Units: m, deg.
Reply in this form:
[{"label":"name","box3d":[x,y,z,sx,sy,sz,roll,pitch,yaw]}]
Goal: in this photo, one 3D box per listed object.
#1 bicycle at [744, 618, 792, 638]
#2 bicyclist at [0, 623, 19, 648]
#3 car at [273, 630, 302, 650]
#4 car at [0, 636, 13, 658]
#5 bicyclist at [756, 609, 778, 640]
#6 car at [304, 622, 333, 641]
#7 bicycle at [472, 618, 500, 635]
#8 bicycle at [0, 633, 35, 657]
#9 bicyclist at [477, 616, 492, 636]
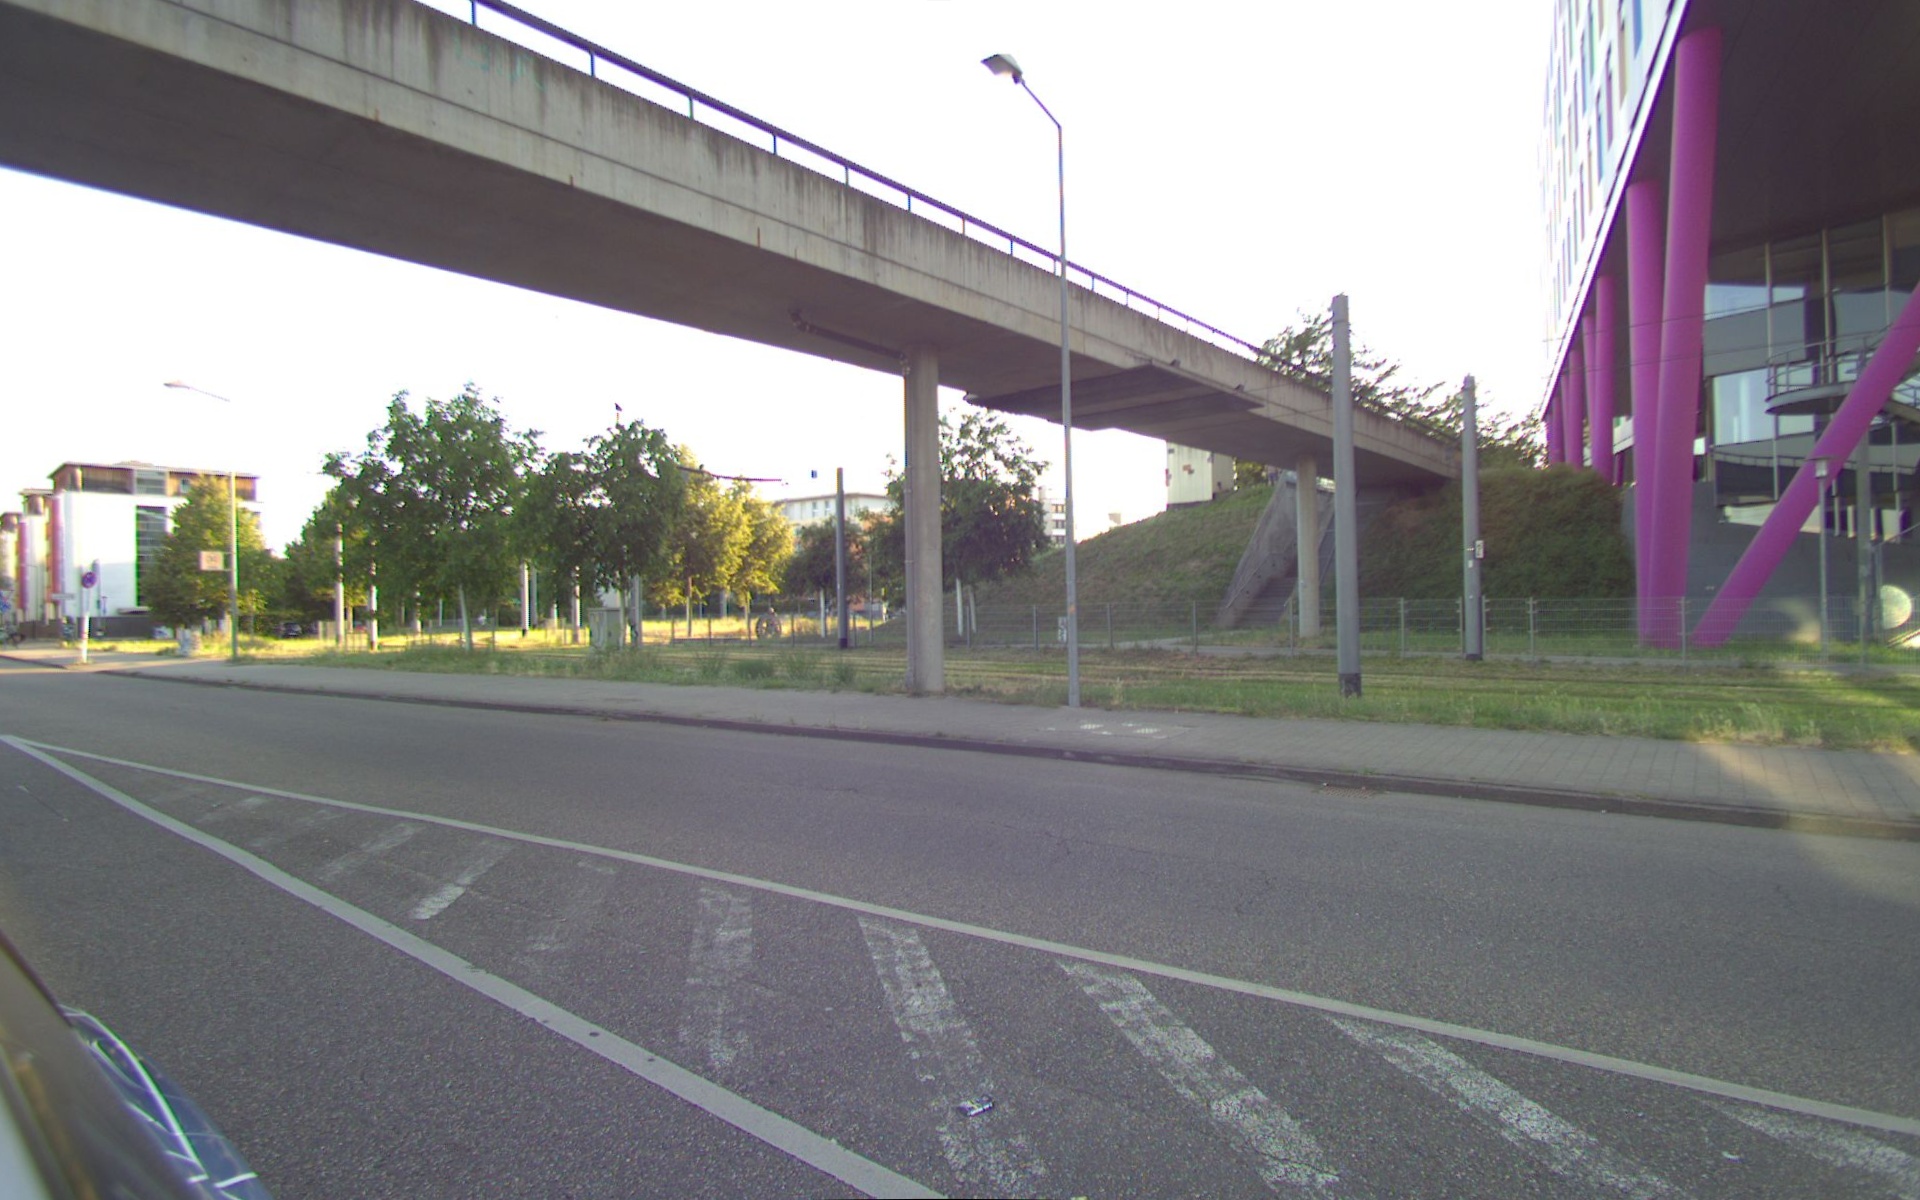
[{"label":"bicycle","box3d":[-10.392,1.514,54.894,0.654,1.016,2.808,-2,-1,37]},{"label":"bicyclist","box3d":[-64.273,2.416,68.265,0.914,1.676,0.851,-2,-1,25]},{"label":"car","box3d":[-56.910,3.361,85.650,1.913,1.541,4.009,-1,-1,-36]},{"label":"car","box3d":[-80.767,3.936,83.357,2.000,1.741,3.944,-2,-1,42]},{"label":"bicyclist","box3d":[-10.474,1.314,55.017,0.716,1.644,0.899,-2,-1,36]},{"label":"car","box3d":[-55.247,2.718,87.122,1.913,1.541,4.009,-1,-1,-36]},{"label":"bicycle","box3d":[-43.553,2.414,92.992,0.876,1.503,3.318,-1,-1,3]},{"label":"bicycle","box3d":[-63.810,3.033,68.138,3.522,1.581,1.010,-2,-1,25]},{"label":"bicyclist","box3d":[-43.576,2.393,92.728,0.872,1.890,1.033,0,-2,3]}]
